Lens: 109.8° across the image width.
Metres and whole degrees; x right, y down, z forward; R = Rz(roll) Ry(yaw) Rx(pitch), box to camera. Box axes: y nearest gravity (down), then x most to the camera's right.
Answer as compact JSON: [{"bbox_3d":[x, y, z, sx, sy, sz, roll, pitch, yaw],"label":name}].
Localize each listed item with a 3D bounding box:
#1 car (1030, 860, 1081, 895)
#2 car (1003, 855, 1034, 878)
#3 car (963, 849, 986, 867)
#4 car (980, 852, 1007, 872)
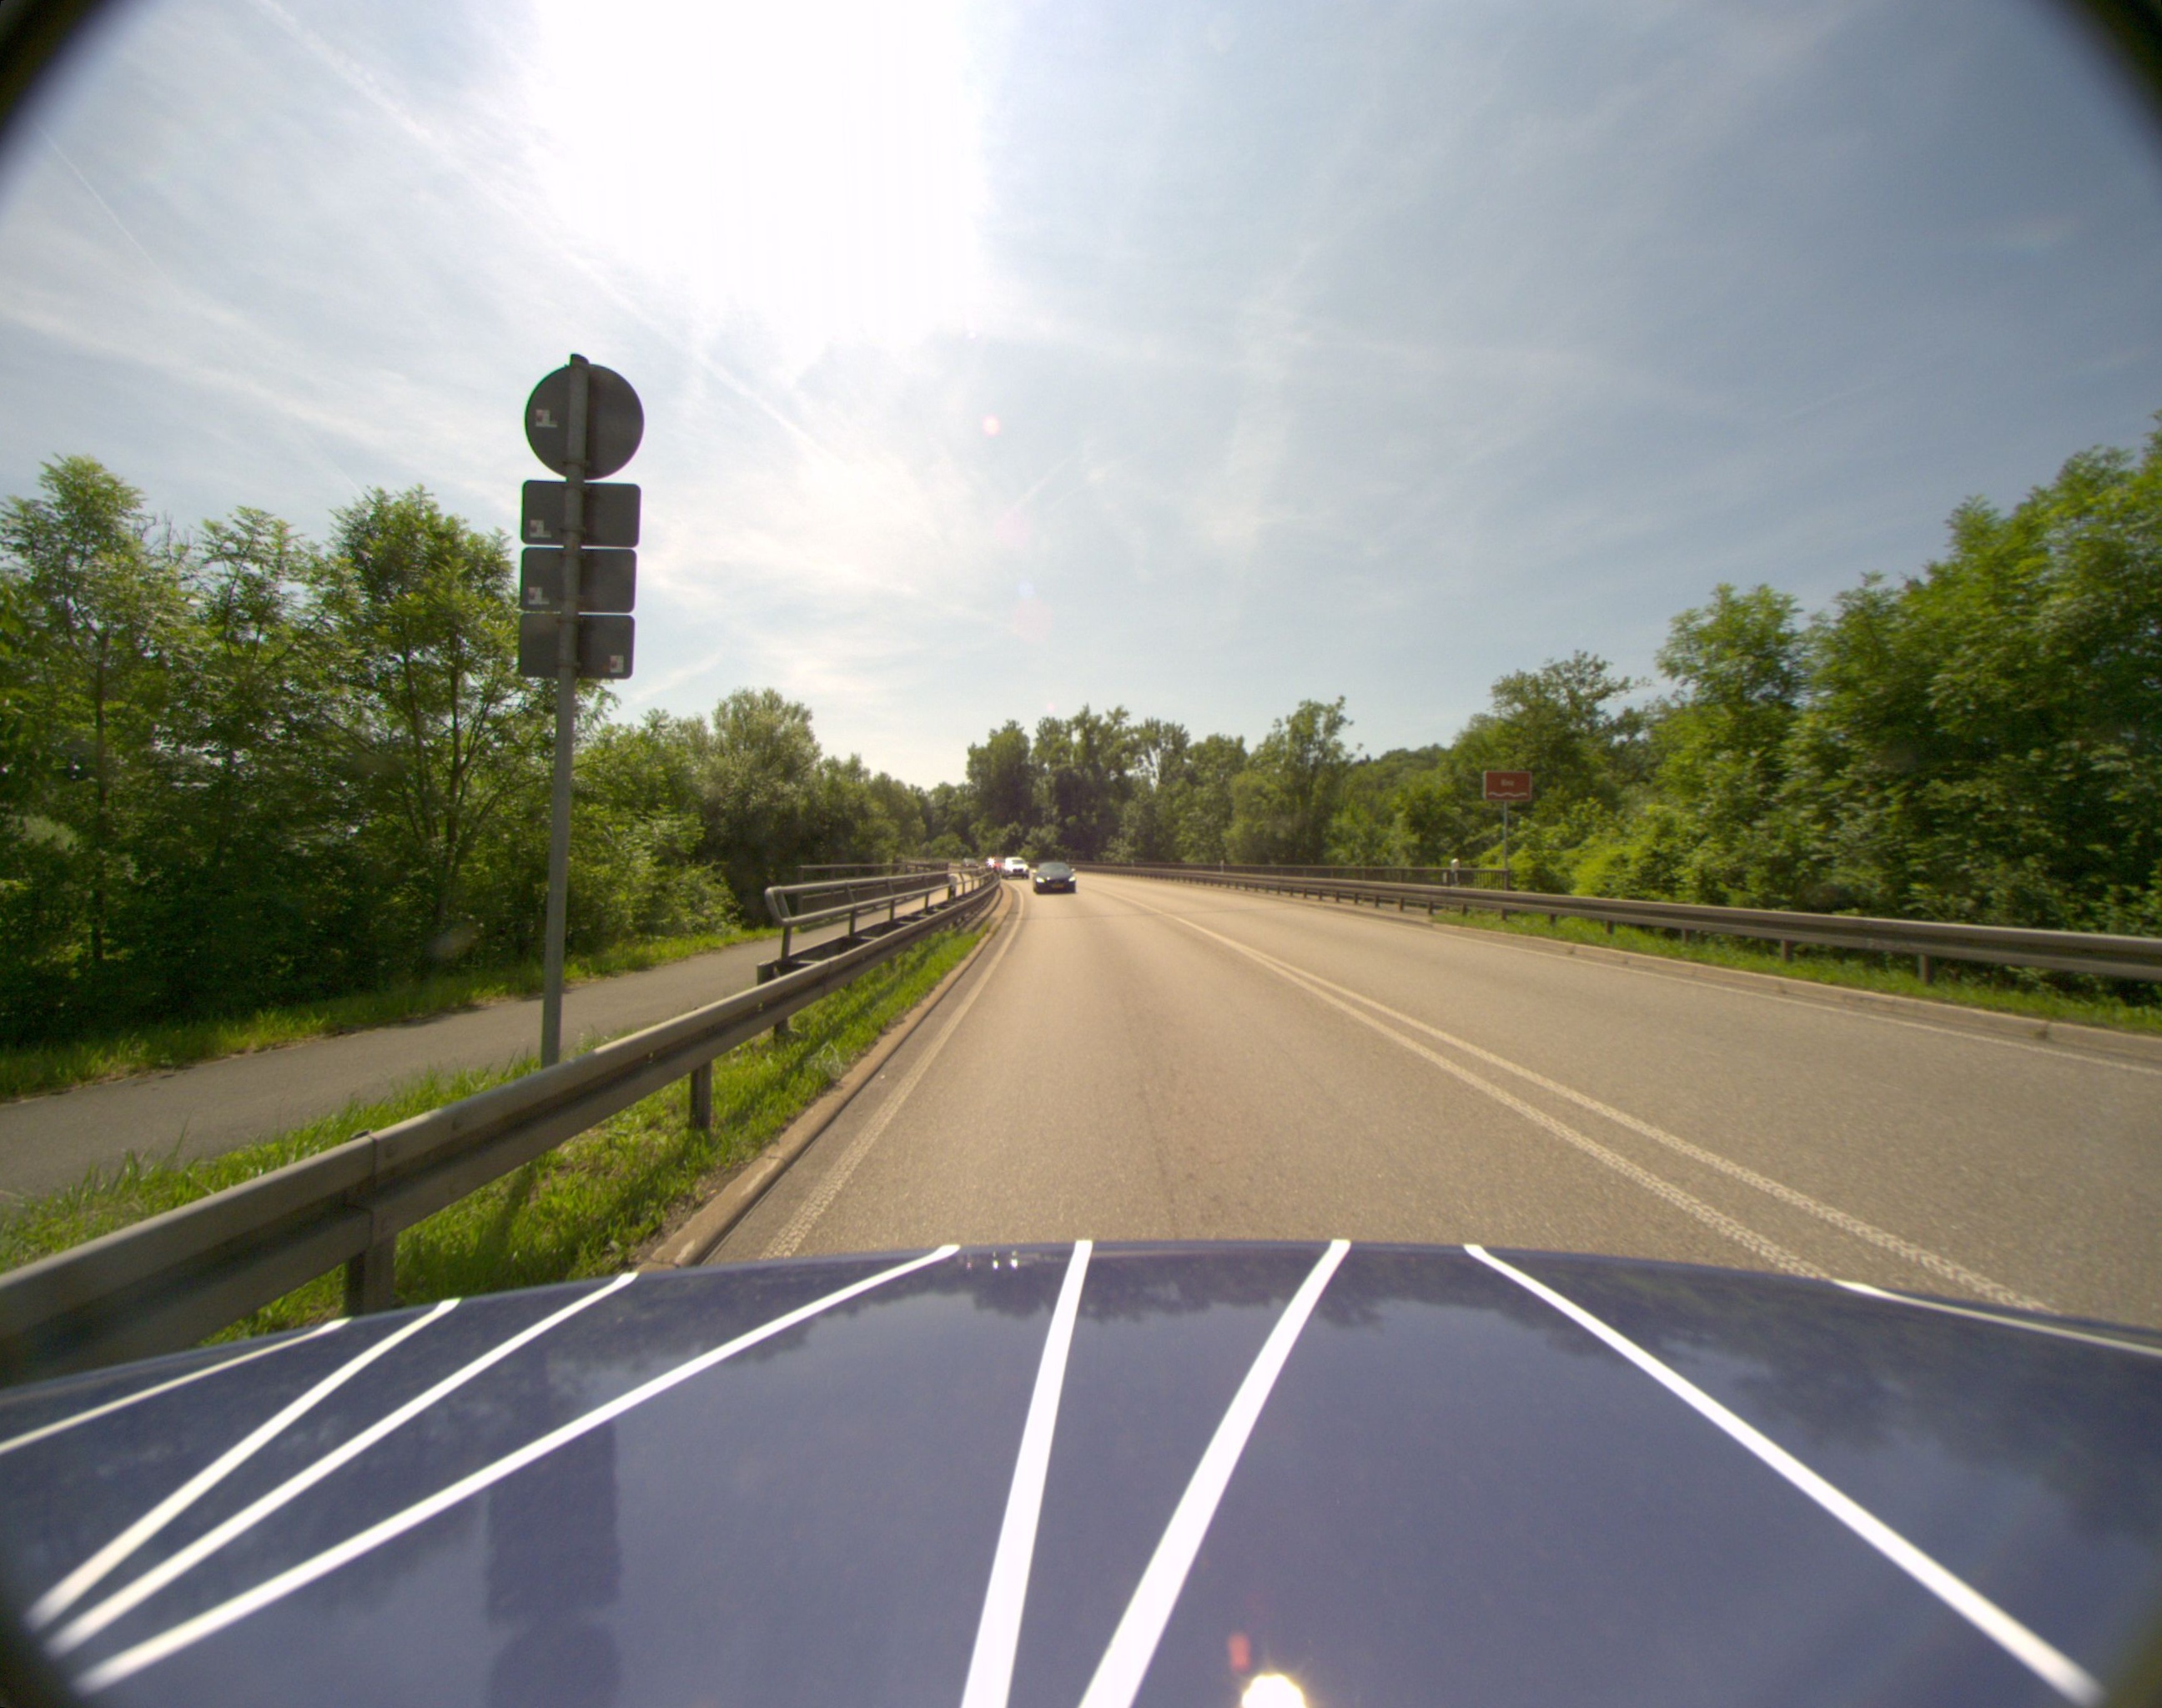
[{"bbox_3d":[-1.241,1.026,35.152,1.910,1.413,3.947,-2,1,-8],"label":"car"},{"bbox_3d":[-4.896,0.948,59.272,1.911,1.638,3.946,-2,0,-11],"label":"car"},{"bbox_3d":[-13.083,0.452,93.382,2.001,2.002,3.993,-3,1,-18],"label":"car"},{"bbox_3d":[-8.527,0.780,73.891,2.001,1.765,3.995,-2,0,-14],"label":"car"}]
